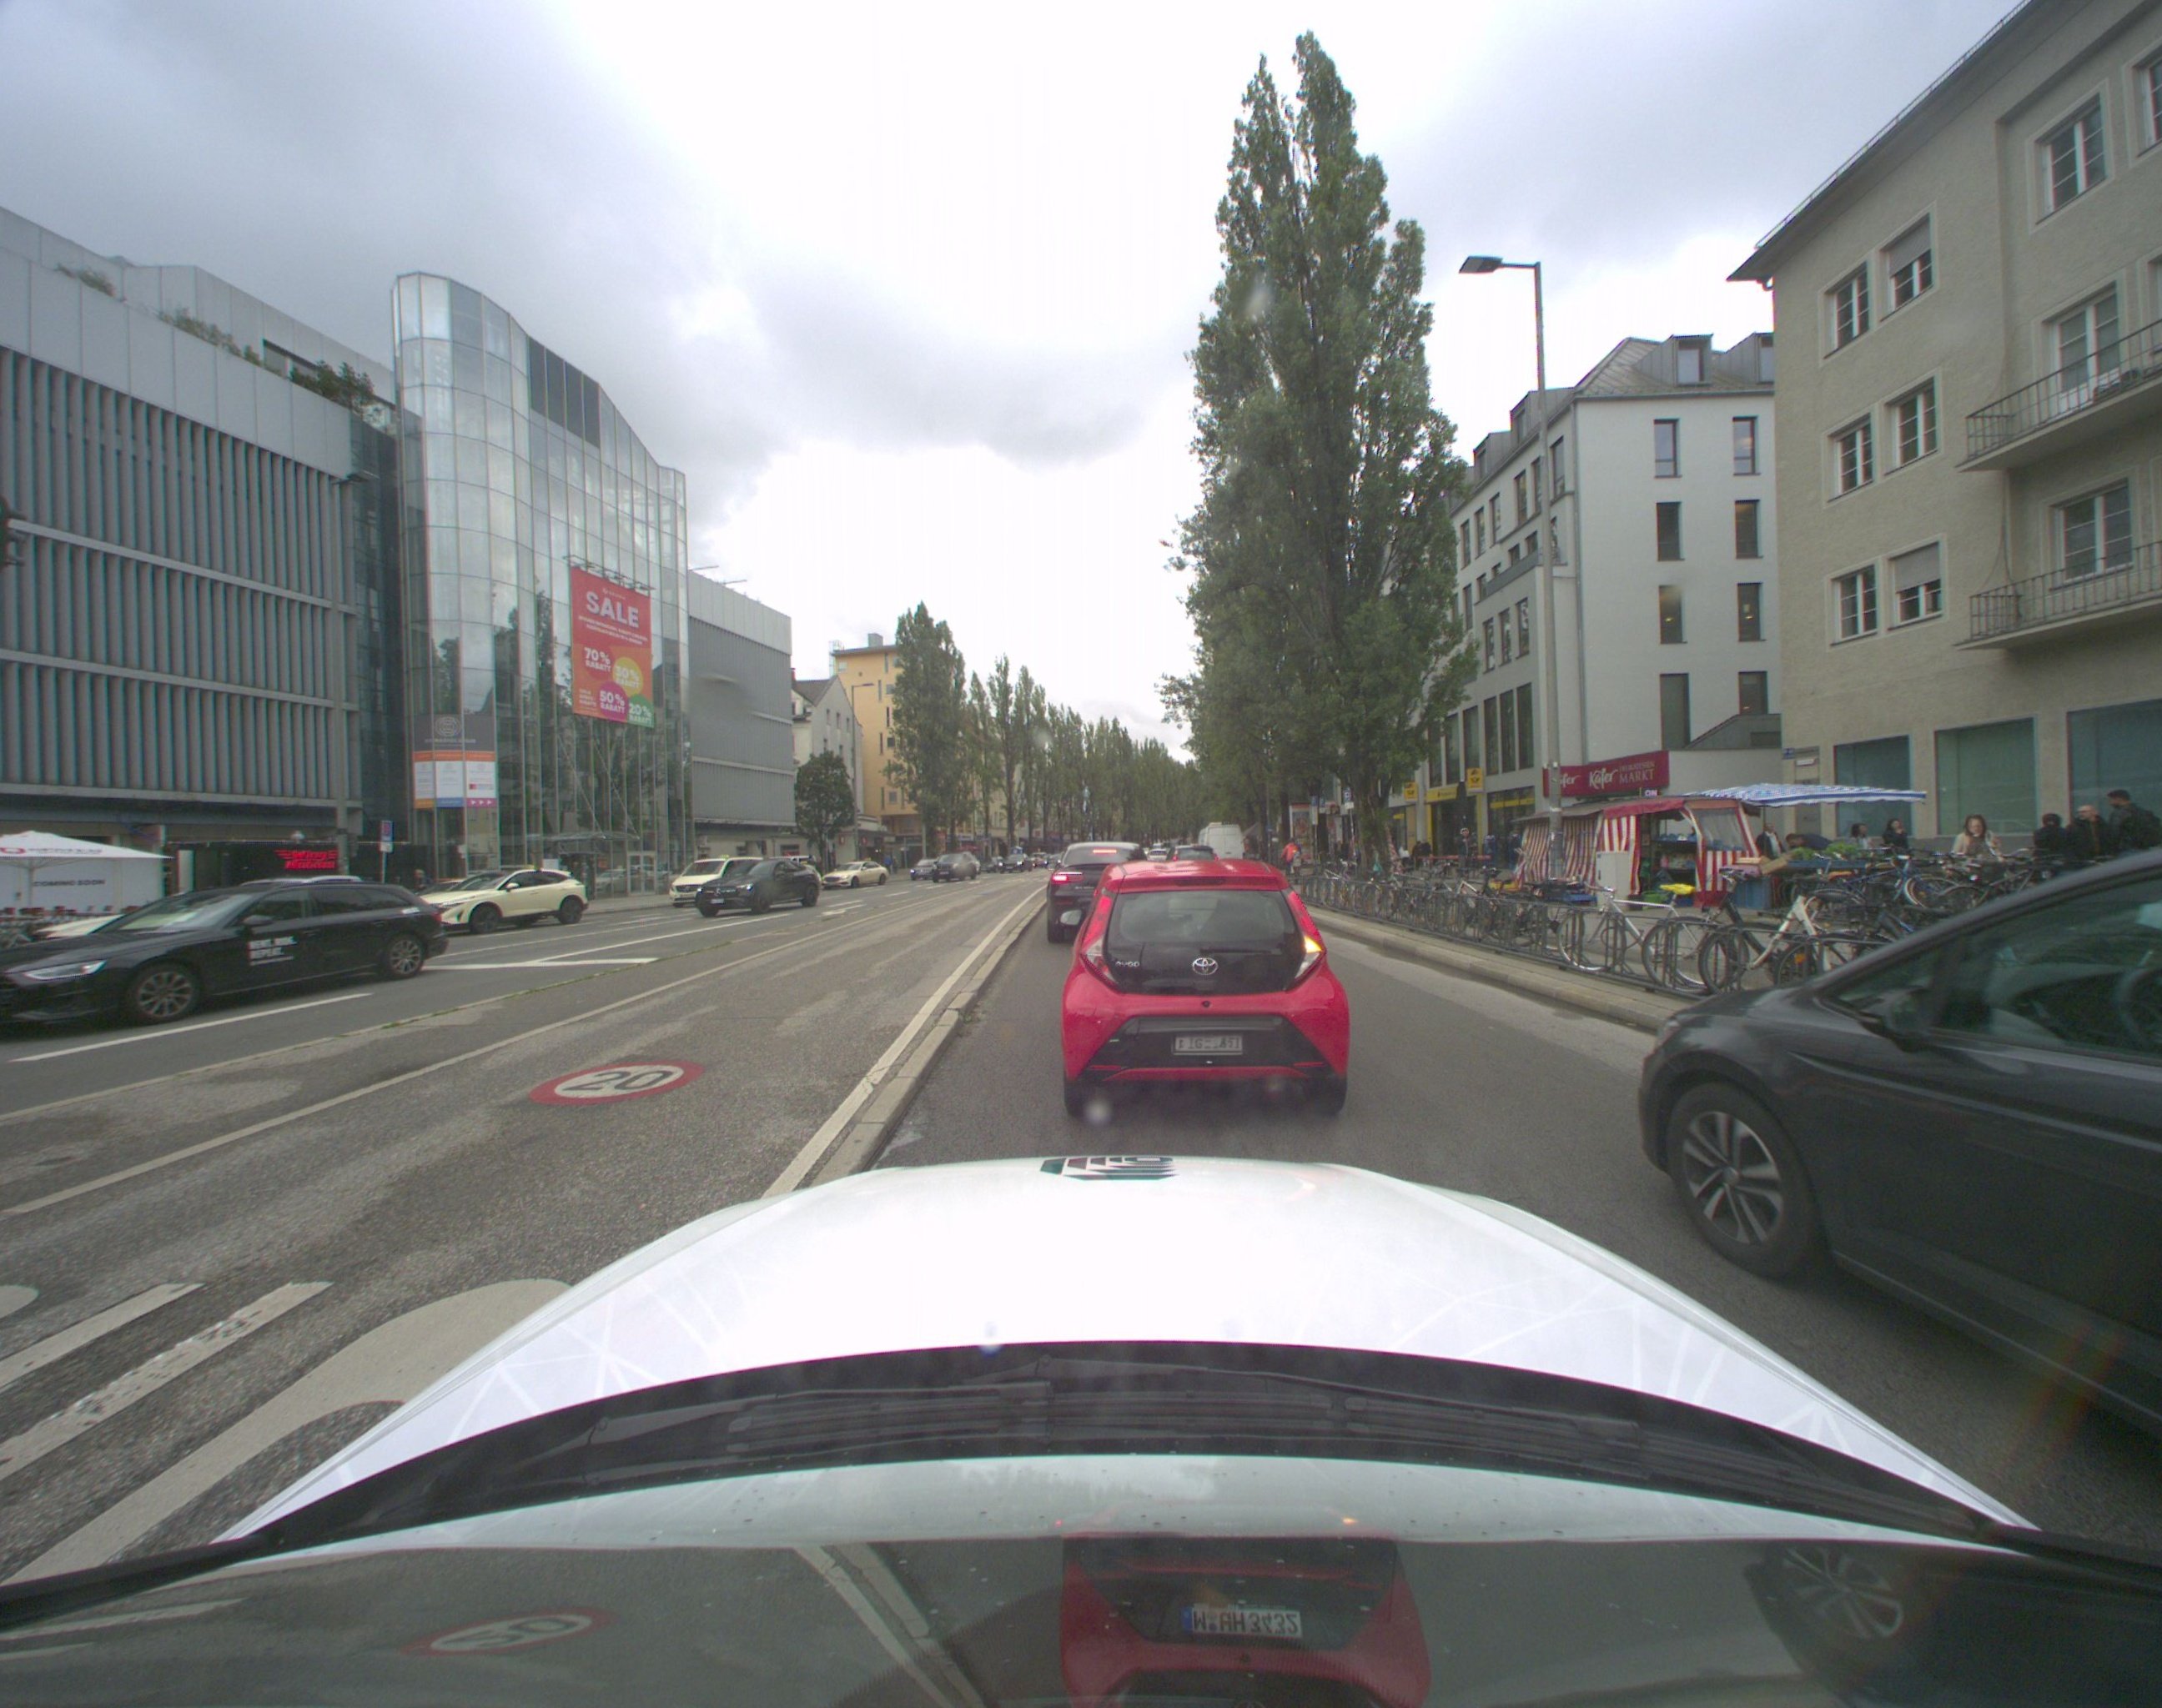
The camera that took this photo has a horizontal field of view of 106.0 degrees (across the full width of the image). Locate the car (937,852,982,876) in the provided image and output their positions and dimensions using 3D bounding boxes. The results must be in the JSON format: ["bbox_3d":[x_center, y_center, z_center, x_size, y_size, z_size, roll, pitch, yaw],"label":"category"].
[{"bbox_3d":[-9.152,0.723,61.860,1.982,1.691,4.932,-2,0,8],"label":"car"}]

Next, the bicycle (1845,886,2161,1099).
[{"bbox_3d":[5.789,0.768,4.850,1.782,1.111,0.590,-2,0,43],"label":"bicycle"}]

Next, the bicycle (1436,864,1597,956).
[{"bbox_3d":[5.895,0.721,11.100,1.815,1.136,0.590,-2,0,43],"label":"bicycle"}]

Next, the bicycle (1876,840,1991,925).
[{"bbox_3d":[12.150,0.401,11.612,1.240,1.140,0.369,-2,0,-1],"label":"bicycle"}]

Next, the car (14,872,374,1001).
[{"bbox_3d":[-13.277,1.140,12.517,1.616,1.552,3.389,-2,0,5],"label":"car"}]

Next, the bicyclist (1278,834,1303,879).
[{"bbox_3d":[7.982,0.090,31.112,0.611,1.657,1.251,-2,0,2],"label":"bicyclist"}]

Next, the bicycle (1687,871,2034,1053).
[{"bbox_3d":[5.777,0.731,6.179,1.815,1.168,0.590,-2,0,43],"label":"bicycle"}]

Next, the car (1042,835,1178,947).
[{"bbox_3d":[0.458,0.549,14.247,1.987,1.618,4.000,-2,0,0],"label":"car"}]

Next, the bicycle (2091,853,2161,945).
[{"bbox_3d":[12.236,0.491,9.243,1.243,0.981,0.368,-2,0,-8],"label":"bicycle"}]

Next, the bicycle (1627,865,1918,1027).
[{"bbox_3d":[5.819,0.710,6.961,1.815,1.197,0.590,-2,0,43],"label":"bicycle"}]

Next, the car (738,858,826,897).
[{"bbox_3d":[-14.304,1.082,39.257,1.981,1.655,4.545,-1,0,9],"label":"car"}]

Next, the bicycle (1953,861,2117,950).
[{"bbox_3d":[10.846,0.583,9.285,1.253,0.963,0.370,-2,0,10],"label":"bicycle"}]

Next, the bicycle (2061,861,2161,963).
[{"bbox_3d":[10.798,0.577,8.480,1.229,0.963,0.366,-2,0,-21],"label":"bicycle"}]

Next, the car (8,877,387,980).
[{"bbox_3d":[-16.896,1.326,16.023,1.981,1.508,4.648,-2,0,10],"label":"car"}]

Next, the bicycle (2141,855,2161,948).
[{"bbox_3d":[12.154,0.493,8.743,1.243,0.981,0.368,-2,0,-8],"label":"bicycle"}]

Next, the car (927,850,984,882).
[{"bbox_3d":[-7.200,0.663,47.233,1.983,1.691,4.930,-2,0,6],"label":"car"}]

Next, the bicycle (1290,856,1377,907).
[{"bbox_3d":[5.875,0.641,18.987,1.814,1.136,0.590,-2,0,37],"label":"bicycle"}]

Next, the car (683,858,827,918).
[{"bbox_3d":[-9.758,0.966,24.856,1.982,1.534,4.598,-2,0,8],"label":"car"}]

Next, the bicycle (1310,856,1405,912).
[{"bbox_3d":[5.934,0.647,17.519,1.814,1.136,0.590,-2,0,37],"label":"bicycle"}]

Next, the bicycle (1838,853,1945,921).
[{"bbox_3d":[12.248,0.487,12.314,1.240,0.963,0.369,-2,0,-1],"label":"bicycle"}]

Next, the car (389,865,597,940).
[{"bbox_3d":[-15.608,1.220,21.926,1.979,1.679,4.199,-2,0,14],"label":"car"}]

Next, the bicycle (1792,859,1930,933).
[{"bbox_3d":[10.756,0.576,11.258,1.424,0.963,0.370,-2,0,6],"label":"bicycle"}]

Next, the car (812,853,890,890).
[{"bbox_3d":[-12.766,0.921,45.582,1.978,1.816,4.553,-2,0,16],"label":"car"}]

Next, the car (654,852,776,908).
[{"bbox_3d":[-14.780,0.980,33.314,1.984,2.013,5.531,-2,0,5],"label":"car"}]

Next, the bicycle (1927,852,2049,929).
[{"bbox_3d":[12.239,0.484,10.998,1.240,0.981,0.369,-2,0,-1],"label":"bicycle"}]

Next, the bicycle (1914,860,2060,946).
[{"bbox_3d":[10.849,0.576,9.768,1.255,0.963,0.369,-2,0,3],"label":"bicycle"}]

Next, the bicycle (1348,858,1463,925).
[{"bbox_3d":[5.879,0.659,14.789,1.814,1.136,0.590,-2,0,37],"label":"bicycle"}]

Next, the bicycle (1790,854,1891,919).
[{"bbox_3d":[11.952,0.508,12.828,1.240,0.963,0.369,-2,0,-1],"label":"bicycle"}]

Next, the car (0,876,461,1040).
[{"bbox_3d":[-10.451,1.071,10.042,1.837,1.382,4.605,-2,0,3],"label":"car"}]

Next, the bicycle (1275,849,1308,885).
[{"bbox_3d":[8.005,0.472,31.068,0.611,1.265,2.521,-2,0,2],"label":"bicycle"}]

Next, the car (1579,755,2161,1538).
[{"bbox_3d":[3.130,0.589,1.312,1.766,1.647,4.708,-2,0,0],"label":"car"}]

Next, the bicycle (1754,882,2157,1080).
[{"bbox_3d":[5.746,0.765,5.515,1.782,1.111,0.494,-2,0,43],"label":"bicycle"}]

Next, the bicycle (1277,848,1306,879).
[{"bbox_3d":[9.004,0.374,34.866,0.611,1.265,2.521,-2,0,2],"label":"bicycle"}]

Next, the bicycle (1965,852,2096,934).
[{"bbox_3d":[12.136,0.486,10.423,1.240,0.981,0.369,-2,0,-1],"label":"bicycle"}]

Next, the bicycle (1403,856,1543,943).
[{"bbox_3d":[5.994,0.670,12.528,1.815,1.241,0.590,-2,0,43],"label":"bicycle"}]

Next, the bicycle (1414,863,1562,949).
[{"bbox_3d":[5.892,0.725,11.862,1.815,1.136,0.590,-2,0,43],"label":"bicycle"}]

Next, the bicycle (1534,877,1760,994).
[{"bbox_3d":[5.760,0.776,8.369,1.815,1.052,0.590,-2,0,43],"label":"bicycle"}]

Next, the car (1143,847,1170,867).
[{"bbox_3d":[5.545,0.208,60.277,1.694,1.426,3.497,-2,0,1],"label":"car"}]
